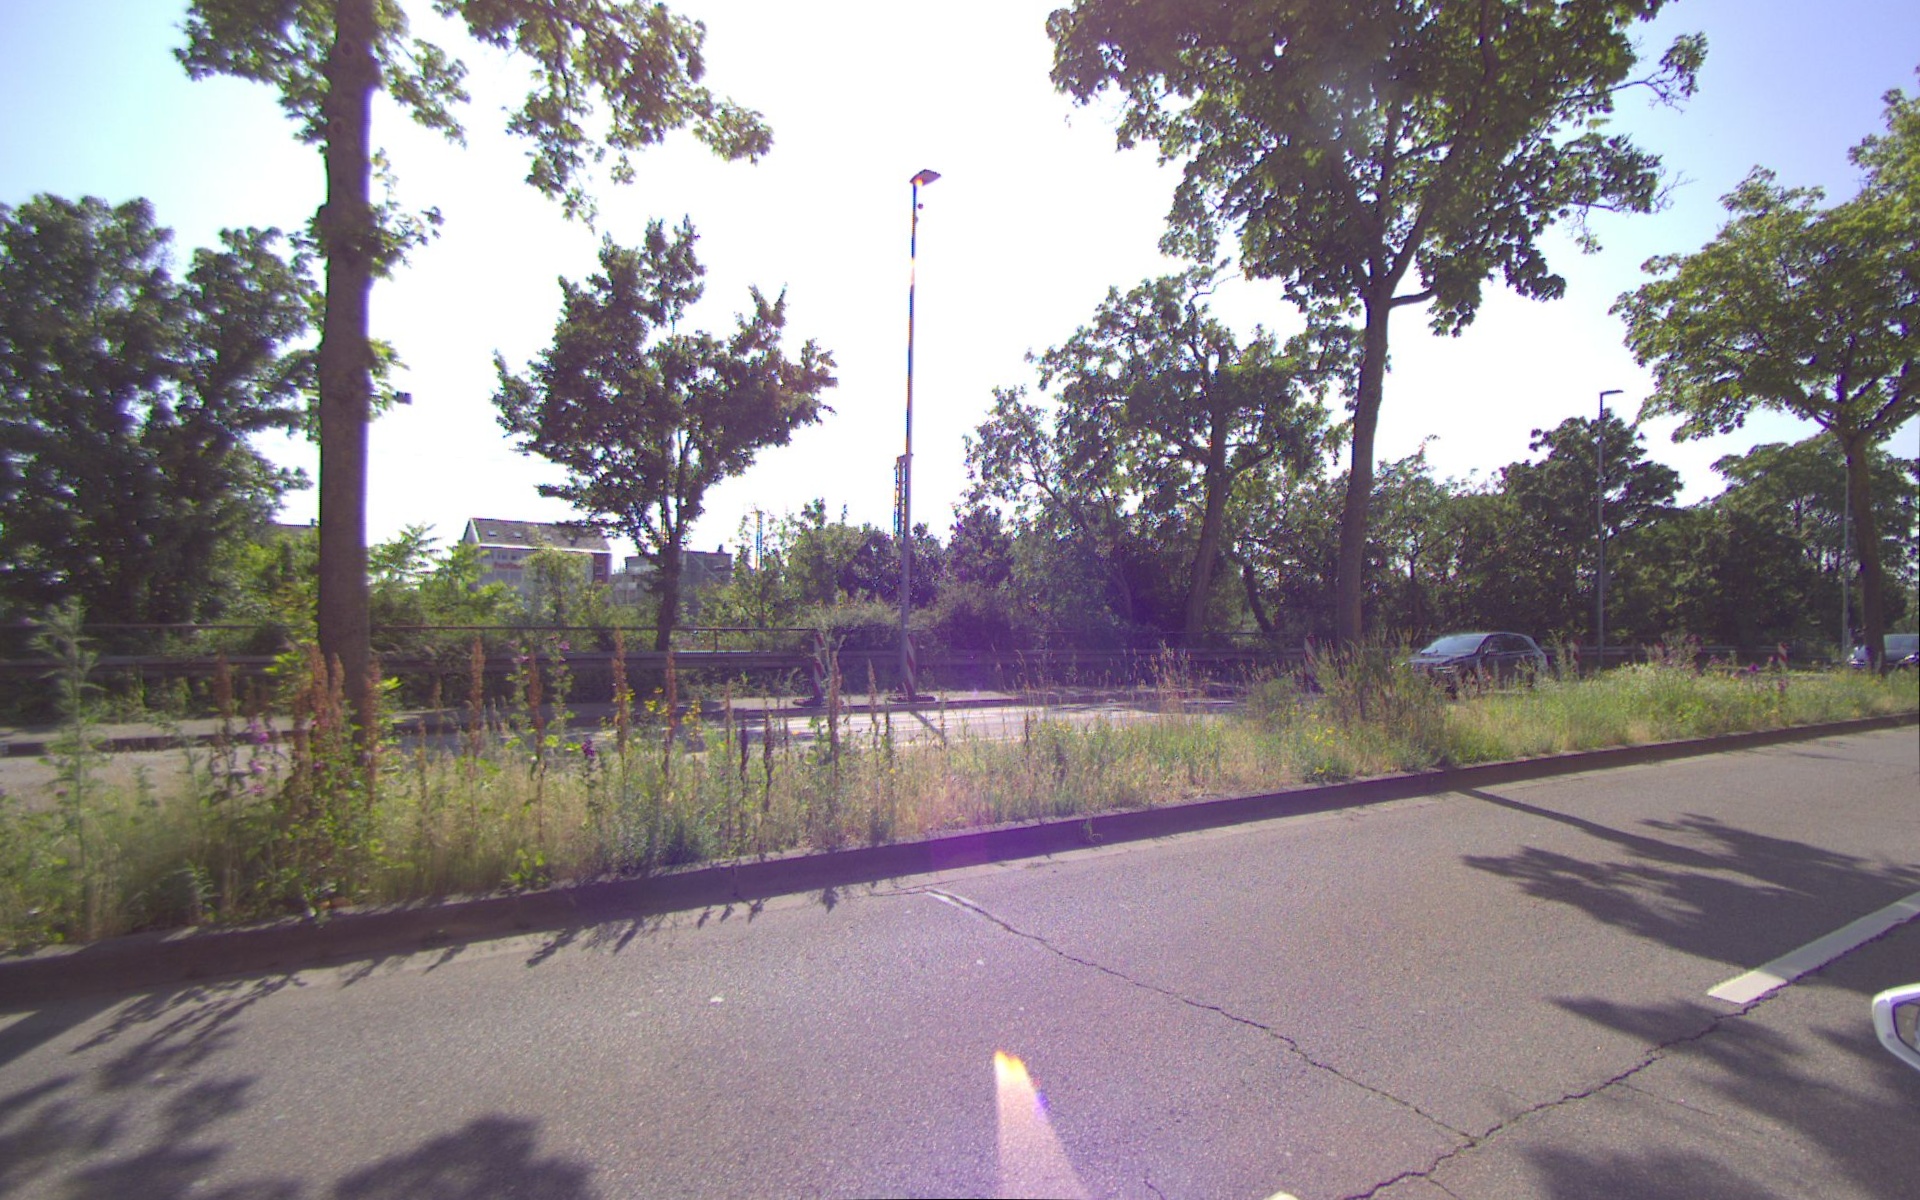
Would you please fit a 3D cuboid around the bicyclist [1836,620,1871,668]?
[{"bbox_3d":[35.459,1.745,39.880,1.003,1.856,0.694,1,-1,-24],"label":"bicyclist"}]

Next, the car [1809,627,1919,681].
[{"bbox_3d":[27.190,1.586,29.918,4.038,1.494,1.754,2,-1,-31],"label":"car"}]

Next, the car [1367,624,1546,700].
[{"bbox_3d":[11.393,1.387,23.003,3.953,1.550,1.789,2,-1,-30],"label":"car"}]
